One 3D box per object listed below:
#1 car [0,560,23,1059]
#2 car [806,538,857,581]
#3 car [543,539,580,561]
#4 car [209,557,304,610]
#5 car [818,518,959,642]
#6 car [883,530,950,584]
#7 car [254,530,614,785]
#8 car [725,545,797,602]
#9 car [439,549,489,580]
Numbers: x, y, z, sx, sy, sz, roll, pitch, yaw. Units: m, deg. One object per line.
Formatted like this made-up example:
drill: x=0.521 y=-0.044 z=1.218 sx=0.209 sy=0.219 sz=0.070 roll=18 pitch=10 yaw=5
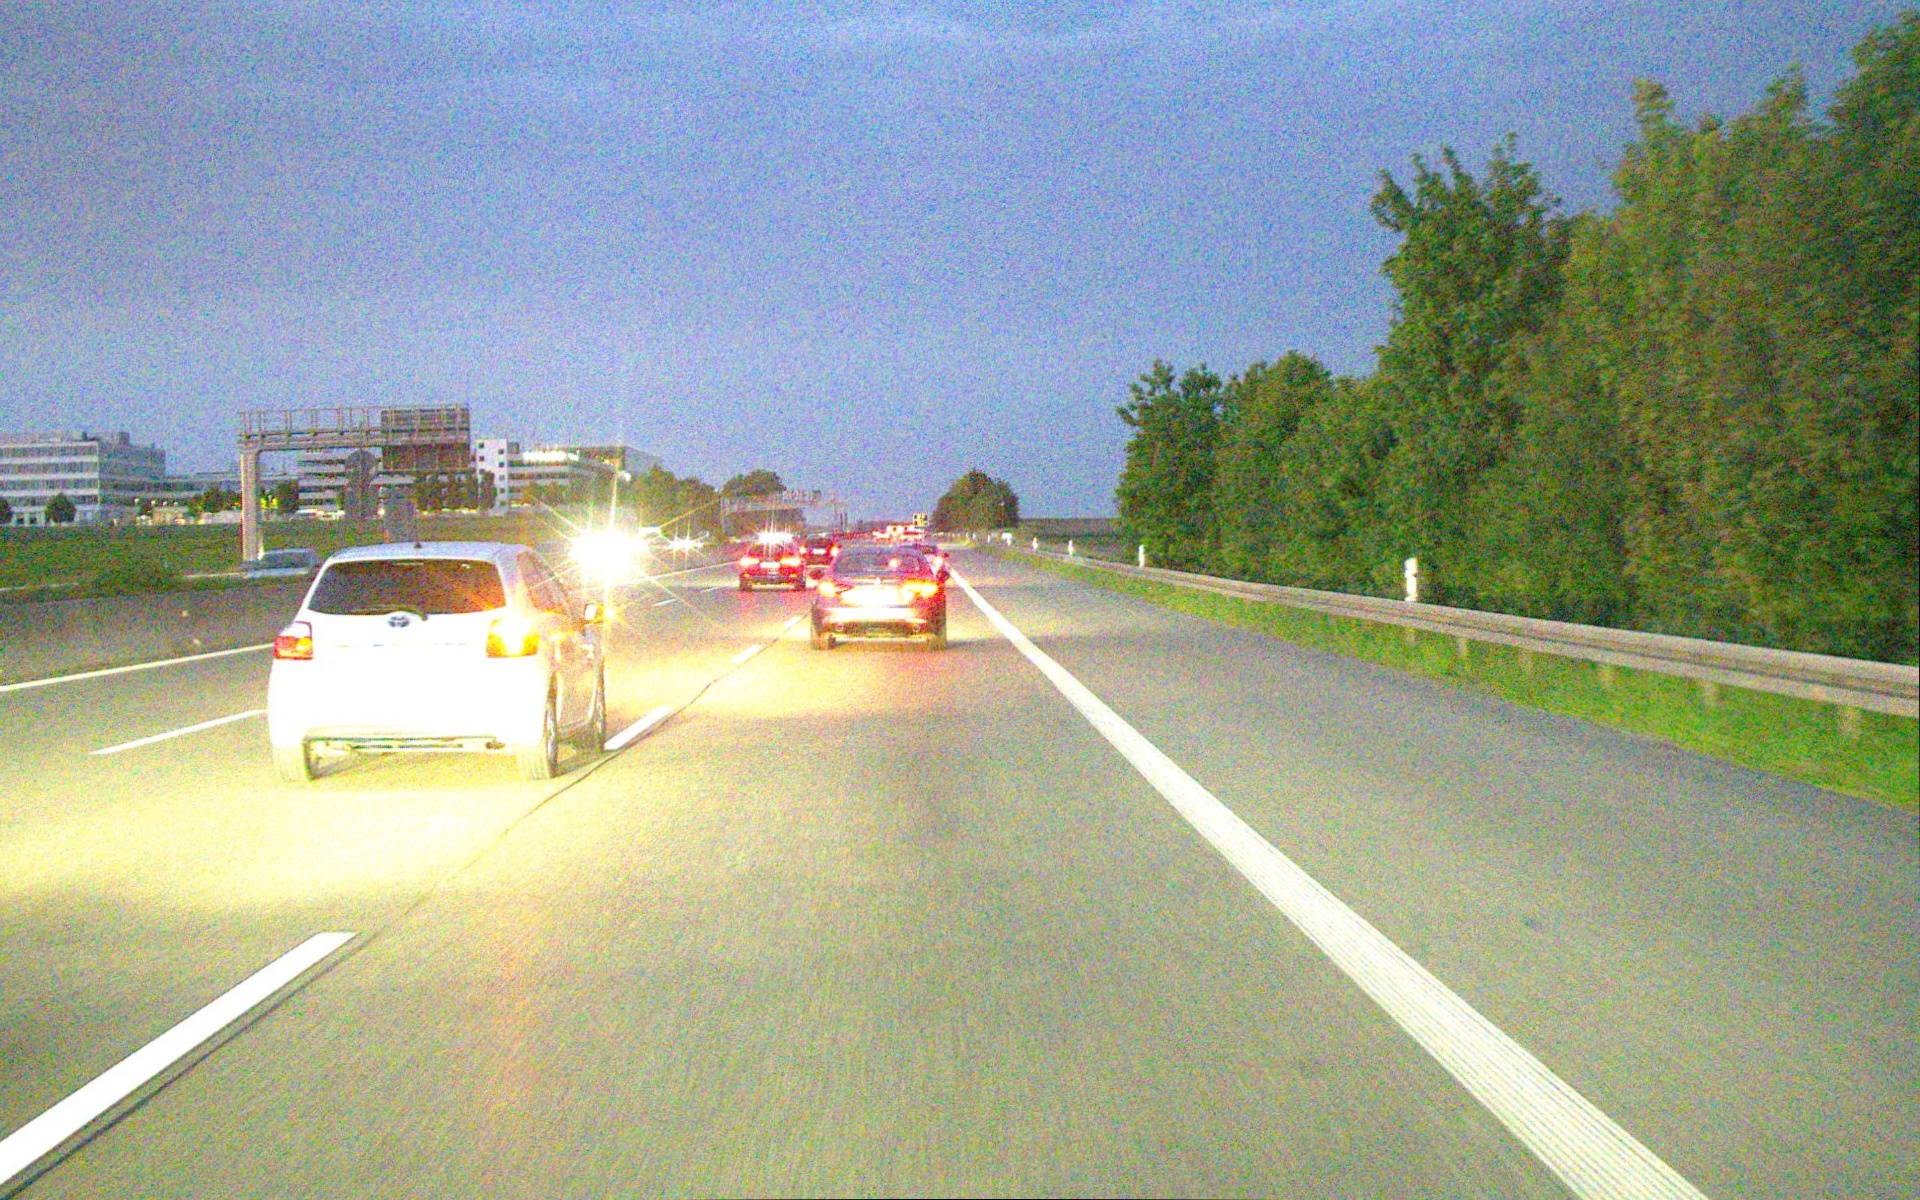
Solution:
car: x=-3.622 y=0.629 z=7.920 sx=1.722 sy=1.466 sz=4.726 roll=1 pitch=1 yaw=-1
car: x=-5.738 y=-1.829 z=153.686 sx=2.199 sy=1.873 sz=4.000 roll=1 pitch=1 yaw=-1
car: x=-28.186 y=-3.521 z=243.449 sx=1.993 sy=1.516 sz=5.836 roll=1 pitch=1 yaw=-1
car: x=-17.549 y=-0.425 z=85.878 sx=1.654 sy=1.284 sz=3.645 roll=1 pitch=1 yaw=-1
car: x=-1.003 y=-0.291 z=48.271 sx=1.880 sy=1.637 sz=4.000 roll=1 pitch=1 yaw=-1
car: x=-1.296 y=-1.258 z=100.625 sx=1.880 sy=1.547 sz=4.000 roll=1 pitch=1 yaw=-2
car: x=-3.398 y=0.321 z=22.946 sx=1.744 sy=1.519 sz=4.414 roll=1 pitch=1 yaw=0
car: x=-5.597 y=-0.753 z=96.974 sx=1.880 sy=1.547 sz=4.000 roll=1 pitch=1 yaw=-2
car: x=-22.480 y=-1.606 z=155.913 sx=1.744 sy=1.357 sz=4.112 roll=1 pitch=1 yaw=-1
